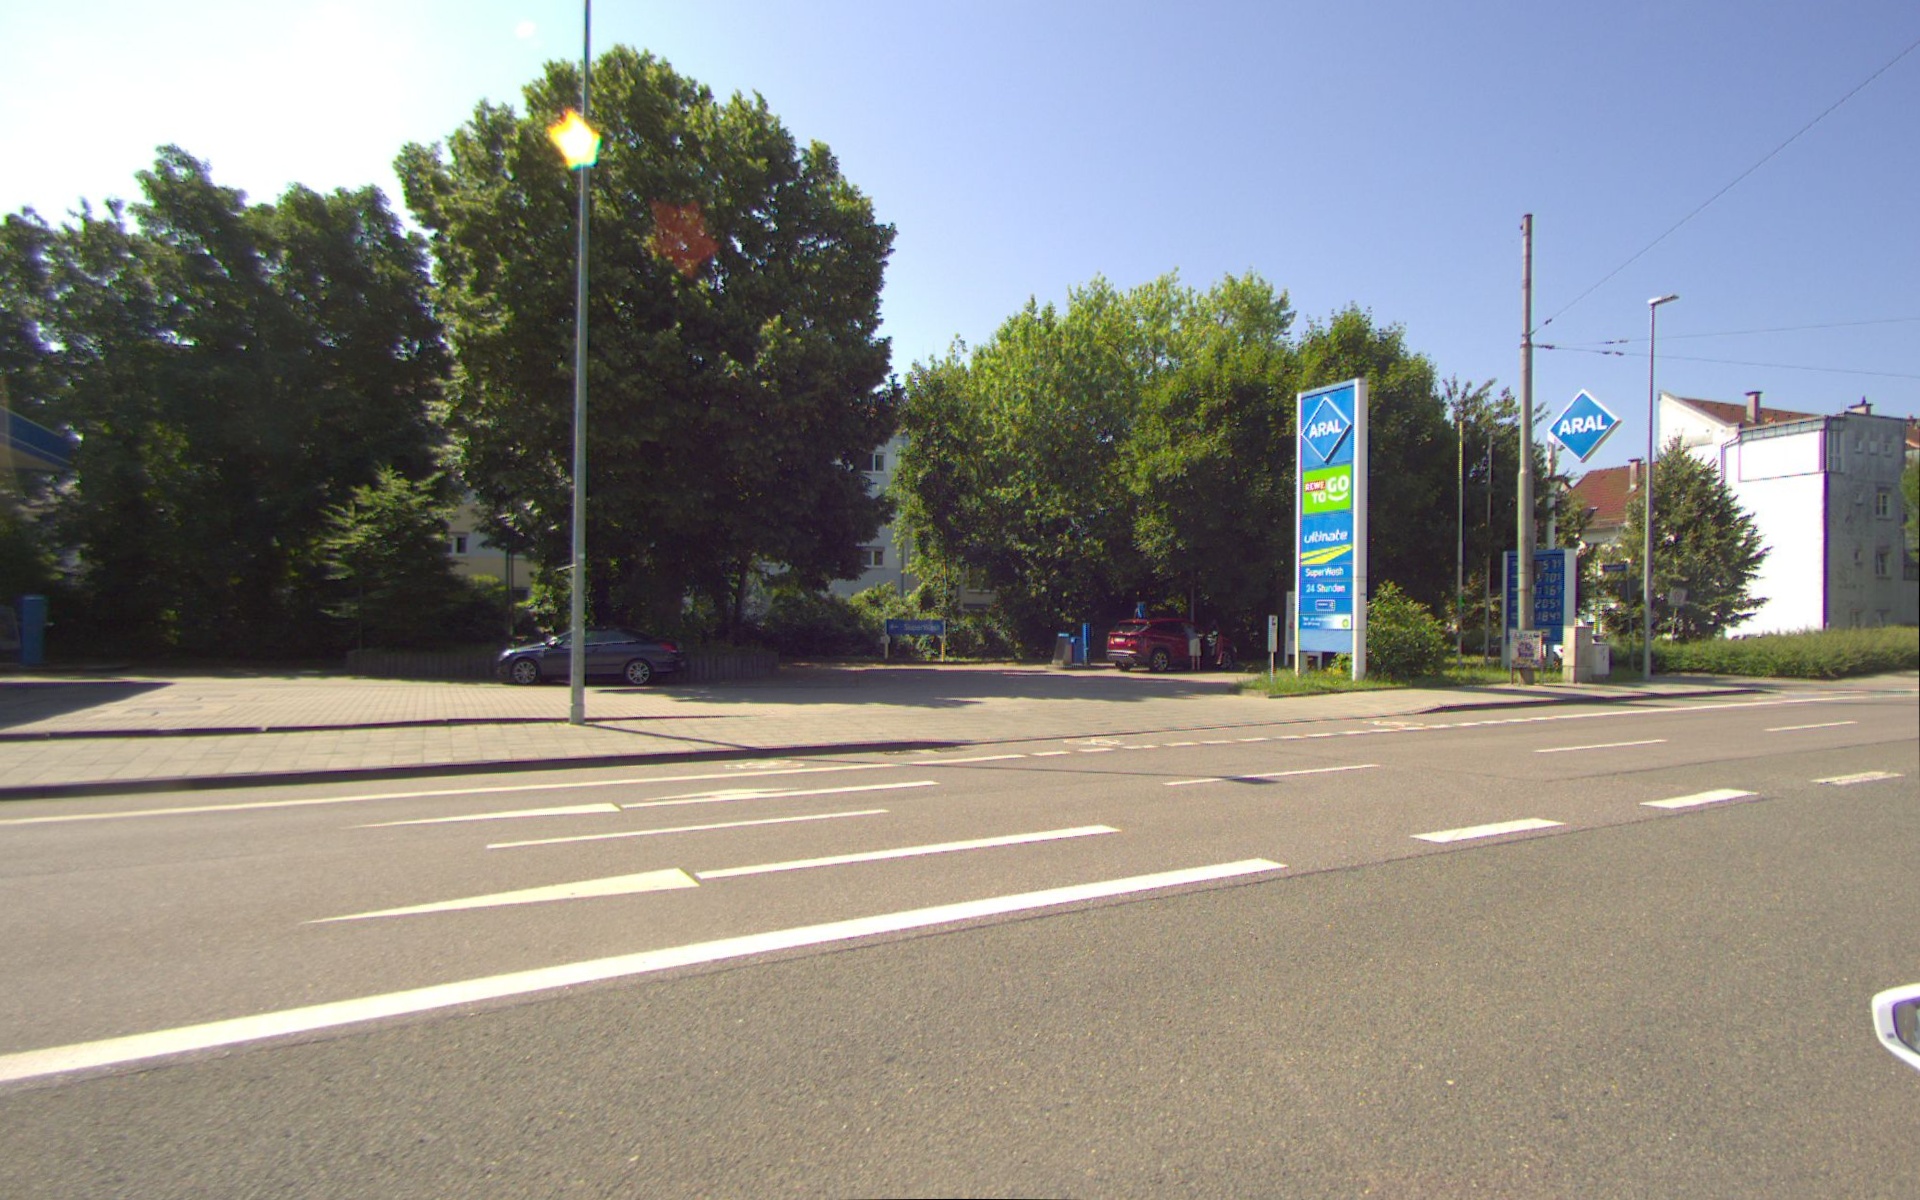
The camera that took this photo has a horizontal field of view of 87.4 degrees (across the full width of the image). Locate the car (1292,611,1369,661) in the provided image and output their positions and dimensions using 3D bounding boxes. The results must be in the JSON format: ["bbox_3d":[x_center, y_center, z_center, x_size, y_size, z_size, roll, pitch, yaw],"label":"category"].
[{"bbox_3d":[19.767,1.908,53.773,1.758,2.571,4.174,1,-1,-15],"label":"car"}]

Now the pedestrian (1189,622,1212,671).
[{"bbox_3d":[7.445,1.429,31.103,0.494,1.501,0.496,1,-1,-29],"label":"pedestrian"}]

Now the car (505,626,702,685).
[{"bbox_3d":[-8.539,1.324,24.346,4.163,1.363,1.804,1,-1,-6],"label":"car"}]

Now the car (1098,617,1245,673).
[{"bbox_3d":[6.663,1.363,31.539,4.463,1.591,1.791,-1,0,-30],"label":"car"}]

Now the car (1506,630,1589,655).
[{"bbox_3d":[30.674,2.214,52.560,1.550,1.221,3.648,1,-1,-18],"label":"car"}]
